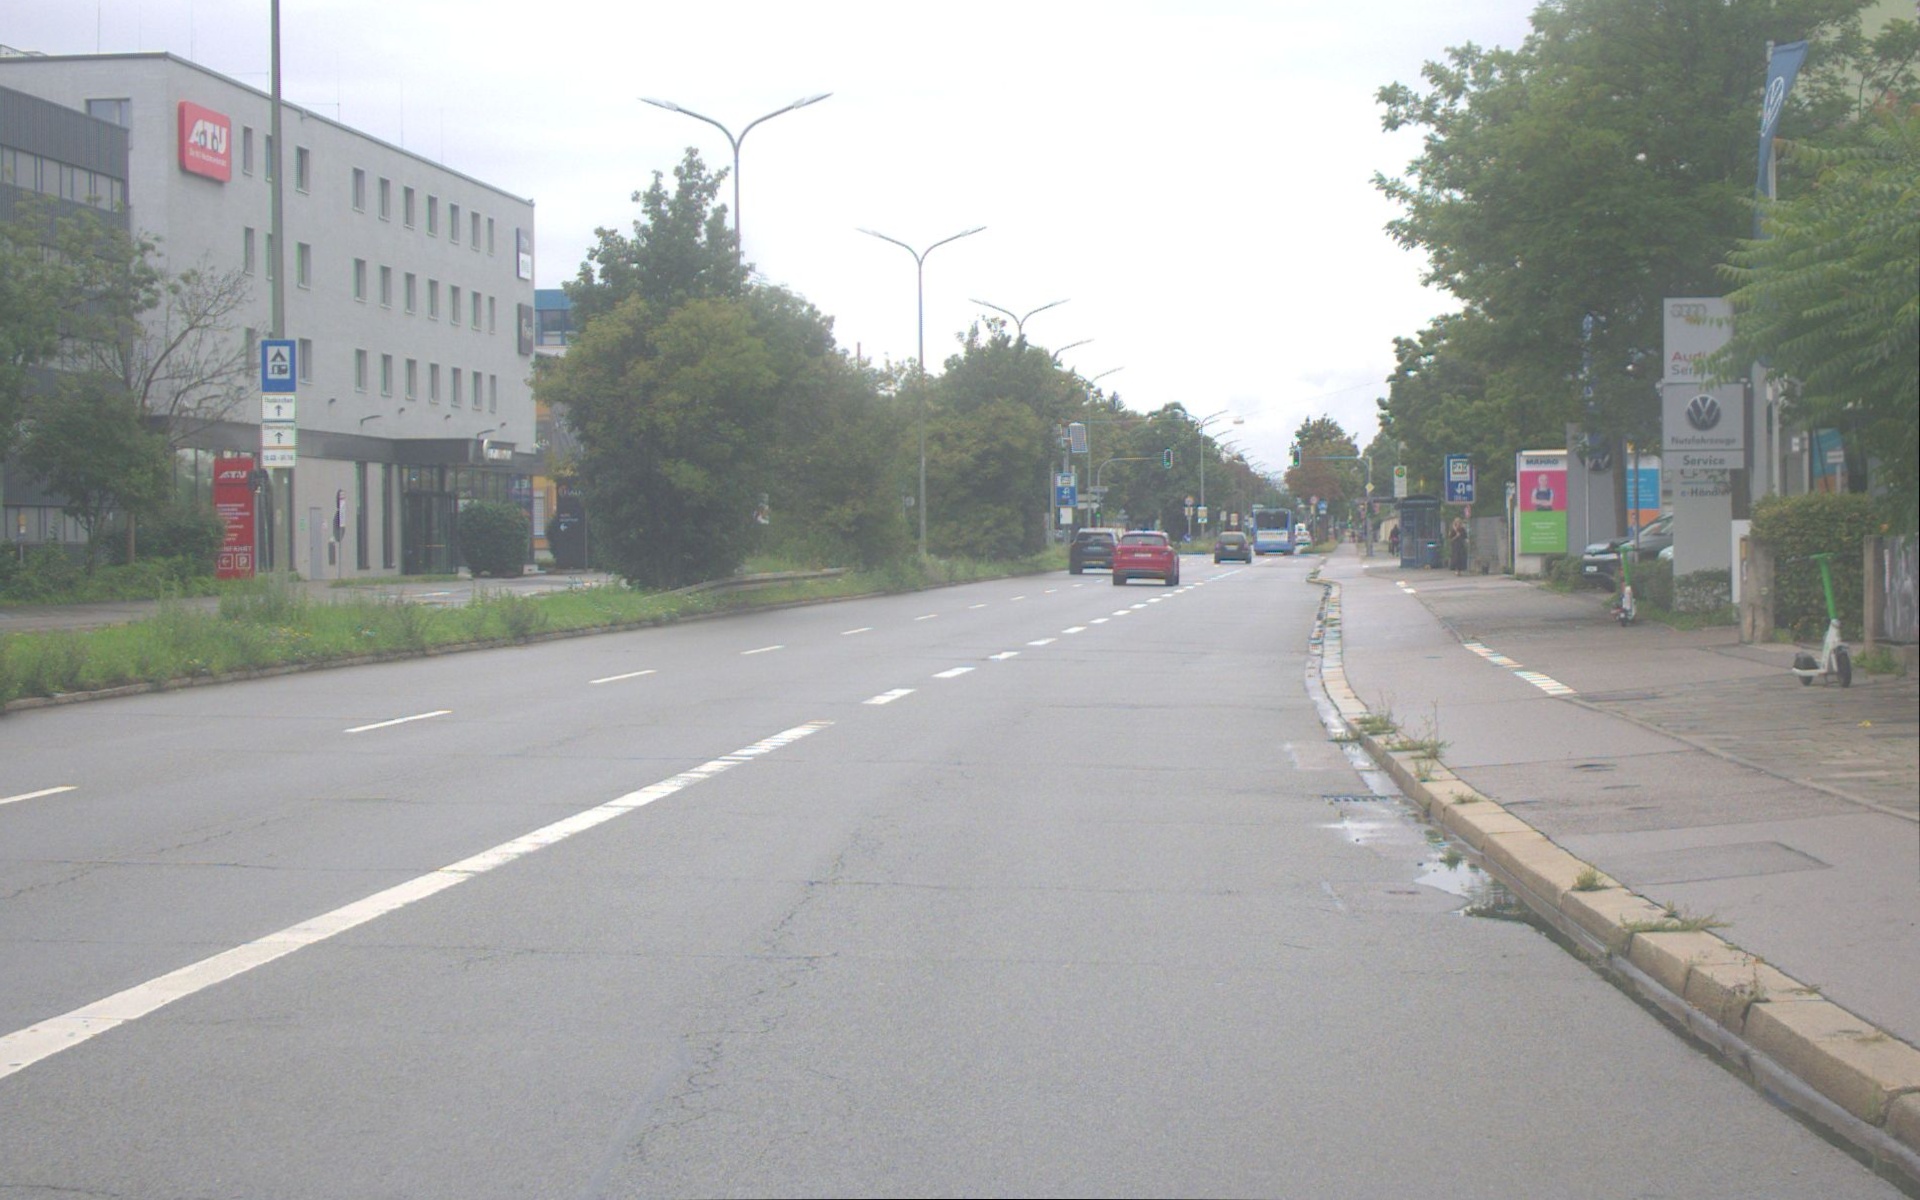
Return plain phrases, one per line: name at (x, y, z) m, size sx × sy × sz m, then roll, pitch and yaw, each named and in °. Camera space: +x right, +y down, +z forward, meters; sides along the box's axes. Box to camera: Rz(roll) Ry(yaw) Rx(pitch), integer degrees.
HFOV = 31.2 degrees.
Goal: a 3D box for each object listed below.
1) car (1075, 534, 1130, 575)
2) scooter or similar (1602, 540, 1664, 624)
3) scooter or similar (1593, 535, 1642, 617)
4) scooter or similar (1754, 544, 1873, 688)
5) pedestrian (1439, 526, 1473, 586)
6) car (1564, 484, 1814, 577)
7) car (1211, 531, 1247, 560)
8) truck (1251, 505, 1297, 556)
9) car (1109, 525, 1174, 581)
car at (5.189, -1.655, 124.535) m, size 1.803 × 1.428 × 4.000 m, roll -1°, pitch 1°, yaw 5°
scooter or similar at (10.028, -0.270, 51.267) m, size 0.496 × 1.200 × 1.430 m, roll -4°, pitch 1°, yaw -3°
scooter or similar at (10.235, -0.376, 53.523) m, size 0.496 × 1.200 × 1.430 m, roll -4°, pitch 2°, yaw 4°
scooter or similar at (7.513, 0.136, 30.326) m, size 0.397 × 1.219 × 1.640 m, roll -4°, pitch 0°, yaw -7°
pedestrian at (14.734, -1.302, 102.124) m, size 0.758 × 1.722 × 0.895 m, roll -4°, pitch 1°, yaw 2°
car at (15.129, -1.440, 71.430) m, size 4.587 × 1.701 × 2.008 m, roll -3°, pitch 0°, yaw -14°
car at (13.513, -2.762, 172.691) m, size 1.803 × 1.428 × 4.000 m, roll -1°, pitch 1°, yaw 5°
truck at (20.882, -4.652, 228.822) m, size 2.969 × 3.274 × 7.914 m, roll -1°, pitch 1°, yaw 5°
car at (5.366, -1.397, 101.292) m, size 1.862 × 1.612 × 4.000 m, roll 0°, pitch 1°, yaw 3°
